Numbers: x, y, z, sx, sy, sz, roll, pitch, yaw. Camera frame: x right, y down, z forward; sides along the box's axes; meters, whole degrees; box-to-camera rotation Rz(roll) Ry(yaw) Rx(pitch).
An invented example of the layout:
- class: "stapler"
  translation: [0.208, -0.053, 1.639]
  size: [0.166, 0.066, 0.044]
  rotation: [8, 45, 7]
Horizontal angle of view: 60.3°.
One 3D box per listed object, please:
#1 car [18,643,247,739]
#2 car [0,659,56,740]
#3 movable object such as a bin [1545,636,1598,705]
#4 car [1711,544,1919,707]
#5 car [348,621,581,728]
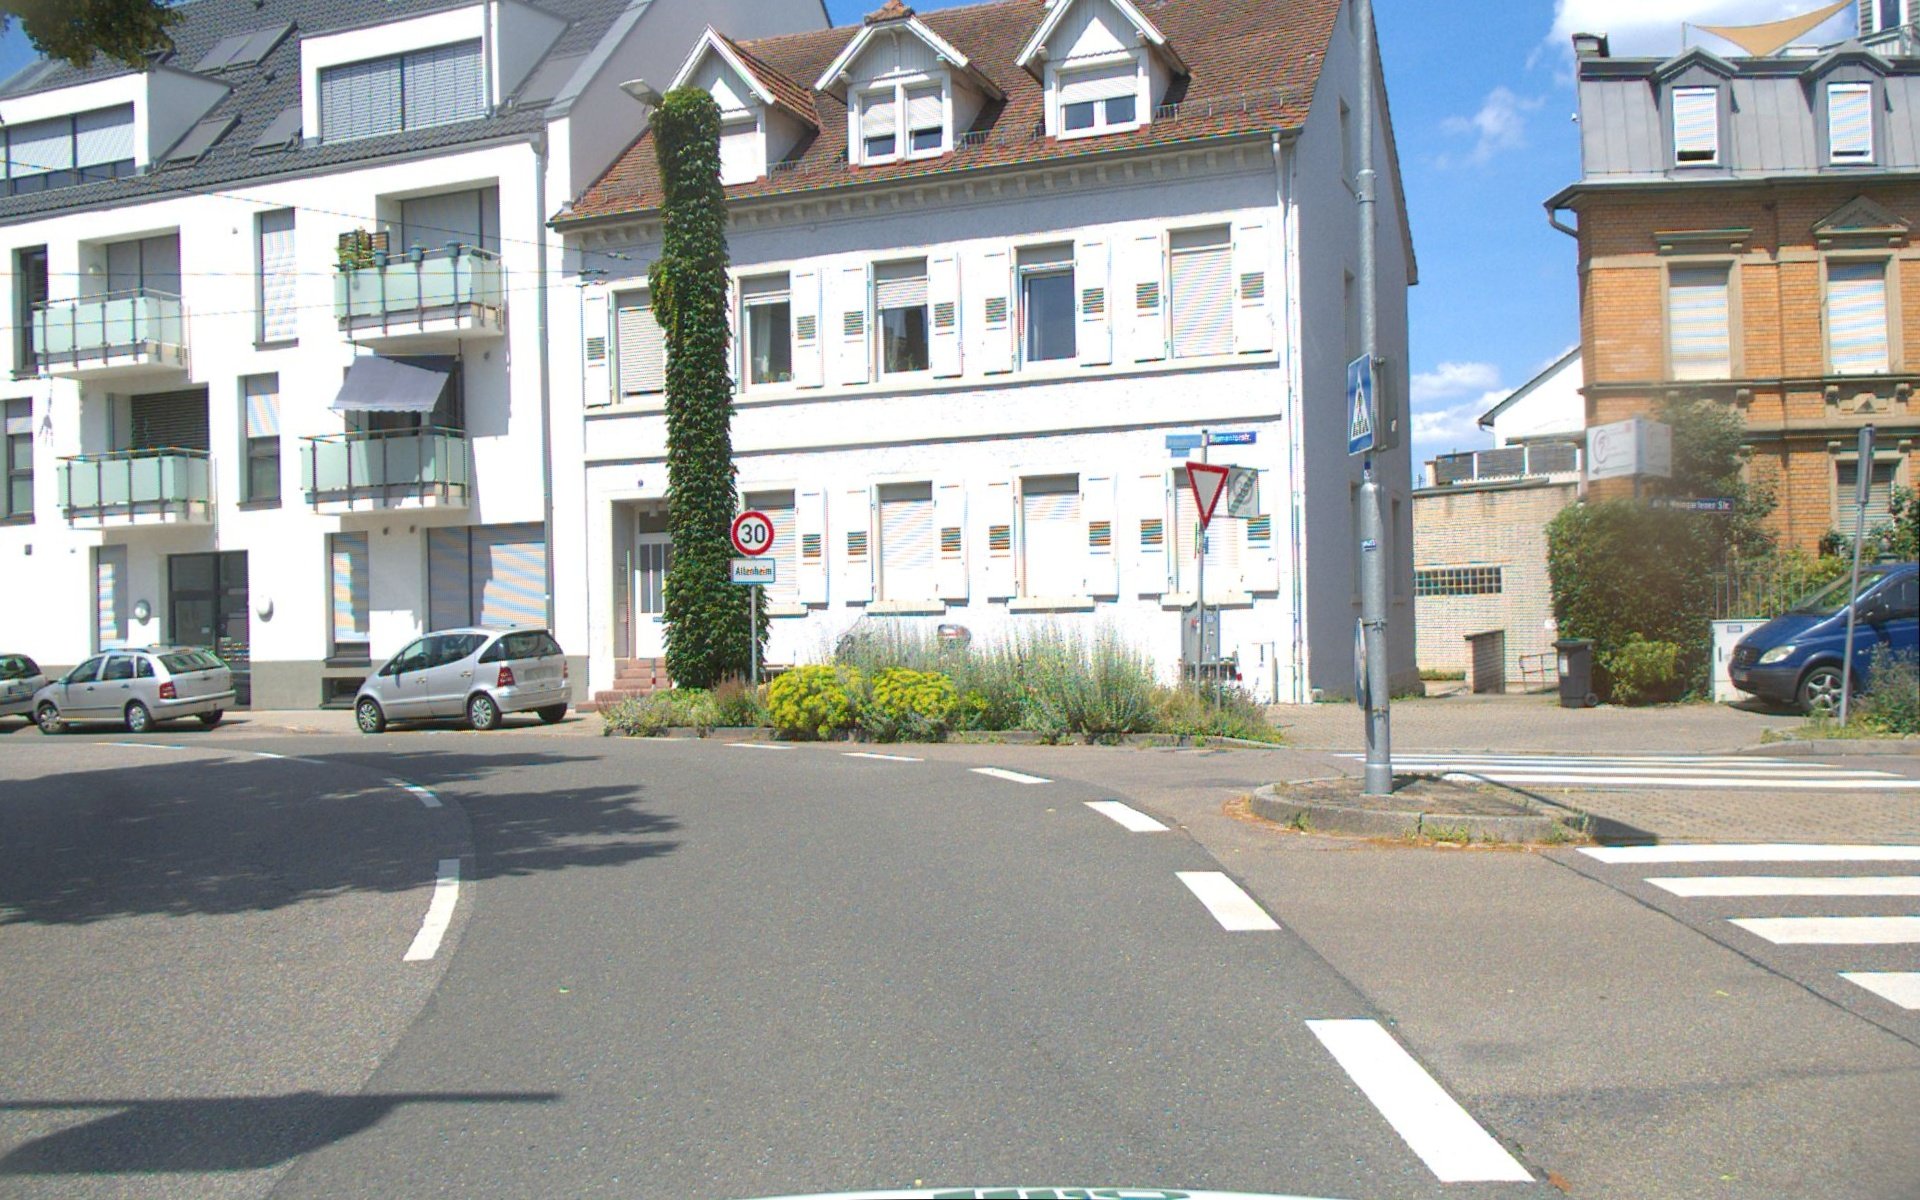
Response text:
- class: "car"
  translation: [-14.884, 1.587, 29.739]
  size: [3.819, 1.491, 1.660]
  rotation: [-1, 3, 27]
- class: "car"
  translation: [-19.150, 1.896, 31.509]
  size: [3.420, 1.381, 1.423]
  rotation: [-1, 3, 20]
- class: "movable object such as a bin"
  translation: [8.477, 0.974, 22.923]
  size: [0.413, 0.932, 0.555]
  rotation: [2, -3, -26]
- class: "car"
  translation: [12.788, 0.259, 21.464]
  size: [5.114, 1.981, 2.085]
  rotation: [-2, 0, 8]
- class: "car"
  translation: [-7.993, 1.187, 26.629]
  size: [3.538, 1.614, 1.581]
  rotation: [-1, -3, 30]
